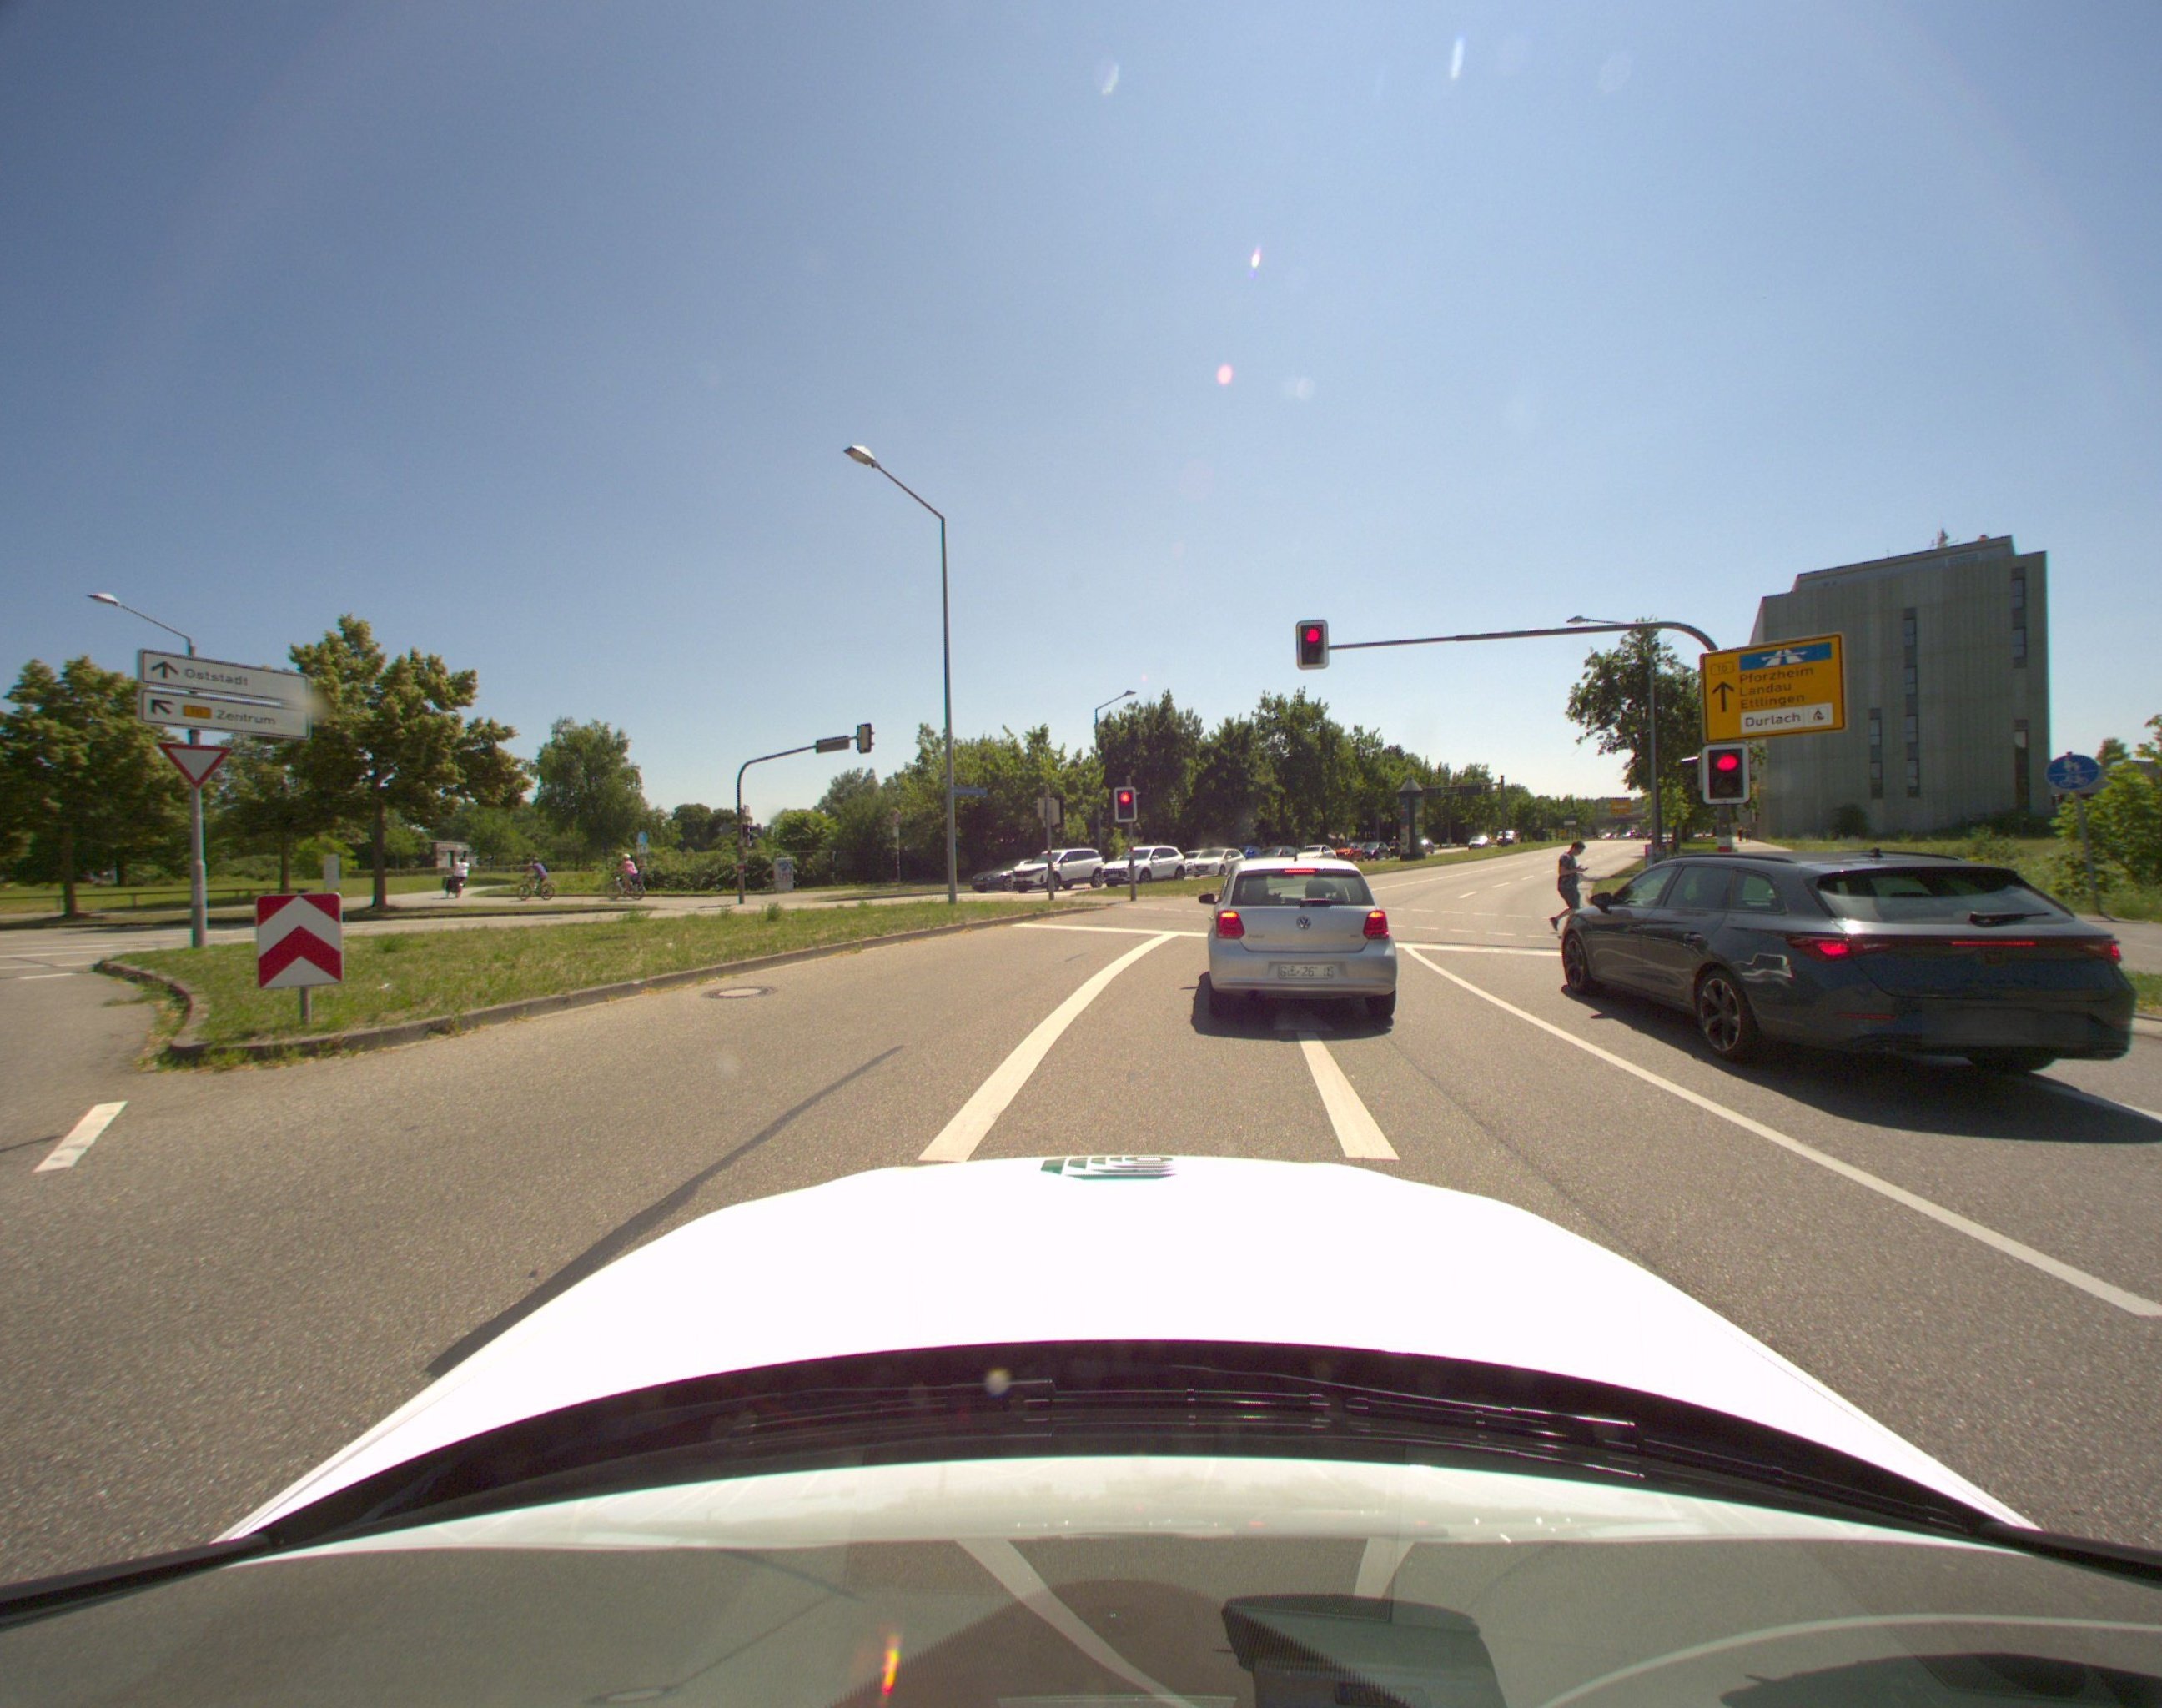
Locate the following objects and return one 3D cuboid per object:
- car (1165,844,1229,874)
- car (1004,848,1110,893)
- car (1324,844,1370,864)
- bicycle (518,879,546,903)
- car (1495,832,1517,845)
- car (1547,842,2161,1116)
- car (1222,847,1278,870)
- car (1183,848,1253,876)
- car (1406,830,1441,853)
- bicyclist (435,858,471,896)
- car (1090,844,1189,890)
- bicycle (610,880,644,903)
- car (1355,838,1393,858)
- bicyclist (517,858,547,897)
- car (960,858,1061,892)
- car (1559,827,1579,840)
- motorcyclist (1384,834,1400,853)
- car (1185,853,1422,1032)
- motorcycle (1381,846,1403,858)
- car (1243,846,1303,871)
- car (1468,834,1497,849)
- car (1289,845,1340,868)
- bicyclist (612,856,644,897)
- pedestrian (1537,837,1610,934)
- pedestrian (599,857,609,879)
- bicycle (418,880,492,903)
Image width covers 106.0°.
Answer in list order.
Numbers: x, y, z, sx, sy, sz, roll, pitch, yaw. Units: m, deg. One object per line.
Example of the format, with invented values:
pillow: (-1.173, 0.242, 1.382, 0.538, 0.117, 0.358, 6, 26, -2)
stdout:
car: (6.990, 0.284, 48.709, 1.840, 1.683, 4.436, -1, 0, 38)
car: (-0.900, 0.624, 32.971, 1.840, 1.618, 4.436, -1, 0, 38)
car: (19.948, -0.012, 61.050, 1.840, 1.422, 4.436, -1, 0, 38)
bicycle: (-22.760, 1.513, 33.792, 0.902, 0.900, 1.744, 0, 1, -33)
car: (53.024, -1.947, 101.561, 1.845, 1.554, 4.026, -1, 0, 36)
car: (5.578, 0.644, 6.590, 1.979, 1.418, 4.473, -1, 1, 14)
car: (11.325, 0.276, 54.469, 1.840, 1.422, 4.436, -1, 0, 38)
car: (7.578, 0.417, 44.709, 1.840, 1.422, 4.436, -1, 0, 38)
car: (31.910, -1.183, 75.770, 1.974, 2.014, 4.026, -3, -1, 37)
bicyclist: (-27.590, 1.014, 35.770, 0.968, 1.614, 0.758, -3, -1, 11)
car: (2.462, 0.498, 33.226, 1.840, 1.683, 4.436, -1, 0, 38)
bicycle: (-18.703, 1.521, 33.521, 0.903, 0.900, 2.200, 0, -2, -38)
car: (23.368, -0.452, 64.903, 1.698, 1.475, 3.821, -3, -1, 37)
bicyclist: (-22.796, 0.946, 33.833, 0.963, 1.531, 1.173, -2, 1, -33)
car: (-3.021, 0.898, 35.759, 1.840, 1.270, 4.436, -1, 0, 38)
car: (67.505, -2.859, 112.597, 1.783, 1.692, 4.168, -3, -1, 38)
motorcyclist: (26.567, -0.908, 69.511, 0.897, 1.586, 1.016, -3, -2, 40)
car: (2.101, 0.741, 8.778, 1.768, 1.422, 4.006, -1, 1, 5)
motorcycle: (26.503, -0.195, 69.382, 0.886, 0.952, 2.833, -3, -1, 40)
car: (11.785, 0.248, 49.875, 1.840, 1.422, 4.436, -1, 0, 38)
car: (42.109, -1.272, 85.349, 1.951, 1.488, 4.026, -1, 0, 37)
car: (15.951, 0.170, 55.509, 1.840, 1.422, 4.436, -1, 0, 38)
bicyclist: (-18.666, 0.918, 33.541, 0.965, 1.610, 1.172, -2, -1, -39)
pedestrian: (8.678, 0.539, 14.348, 0.944, 1.637, 0.762, -3, -2, 38)
pedestrian: (-38.759, 1.137, 66.133, 0.575, 1.731, 0.670, -2, -1, -21)
bicycle: (-27.492, 1.648, 35.748, 2.902, 0.912, 0.742, -2, -1, 8)
